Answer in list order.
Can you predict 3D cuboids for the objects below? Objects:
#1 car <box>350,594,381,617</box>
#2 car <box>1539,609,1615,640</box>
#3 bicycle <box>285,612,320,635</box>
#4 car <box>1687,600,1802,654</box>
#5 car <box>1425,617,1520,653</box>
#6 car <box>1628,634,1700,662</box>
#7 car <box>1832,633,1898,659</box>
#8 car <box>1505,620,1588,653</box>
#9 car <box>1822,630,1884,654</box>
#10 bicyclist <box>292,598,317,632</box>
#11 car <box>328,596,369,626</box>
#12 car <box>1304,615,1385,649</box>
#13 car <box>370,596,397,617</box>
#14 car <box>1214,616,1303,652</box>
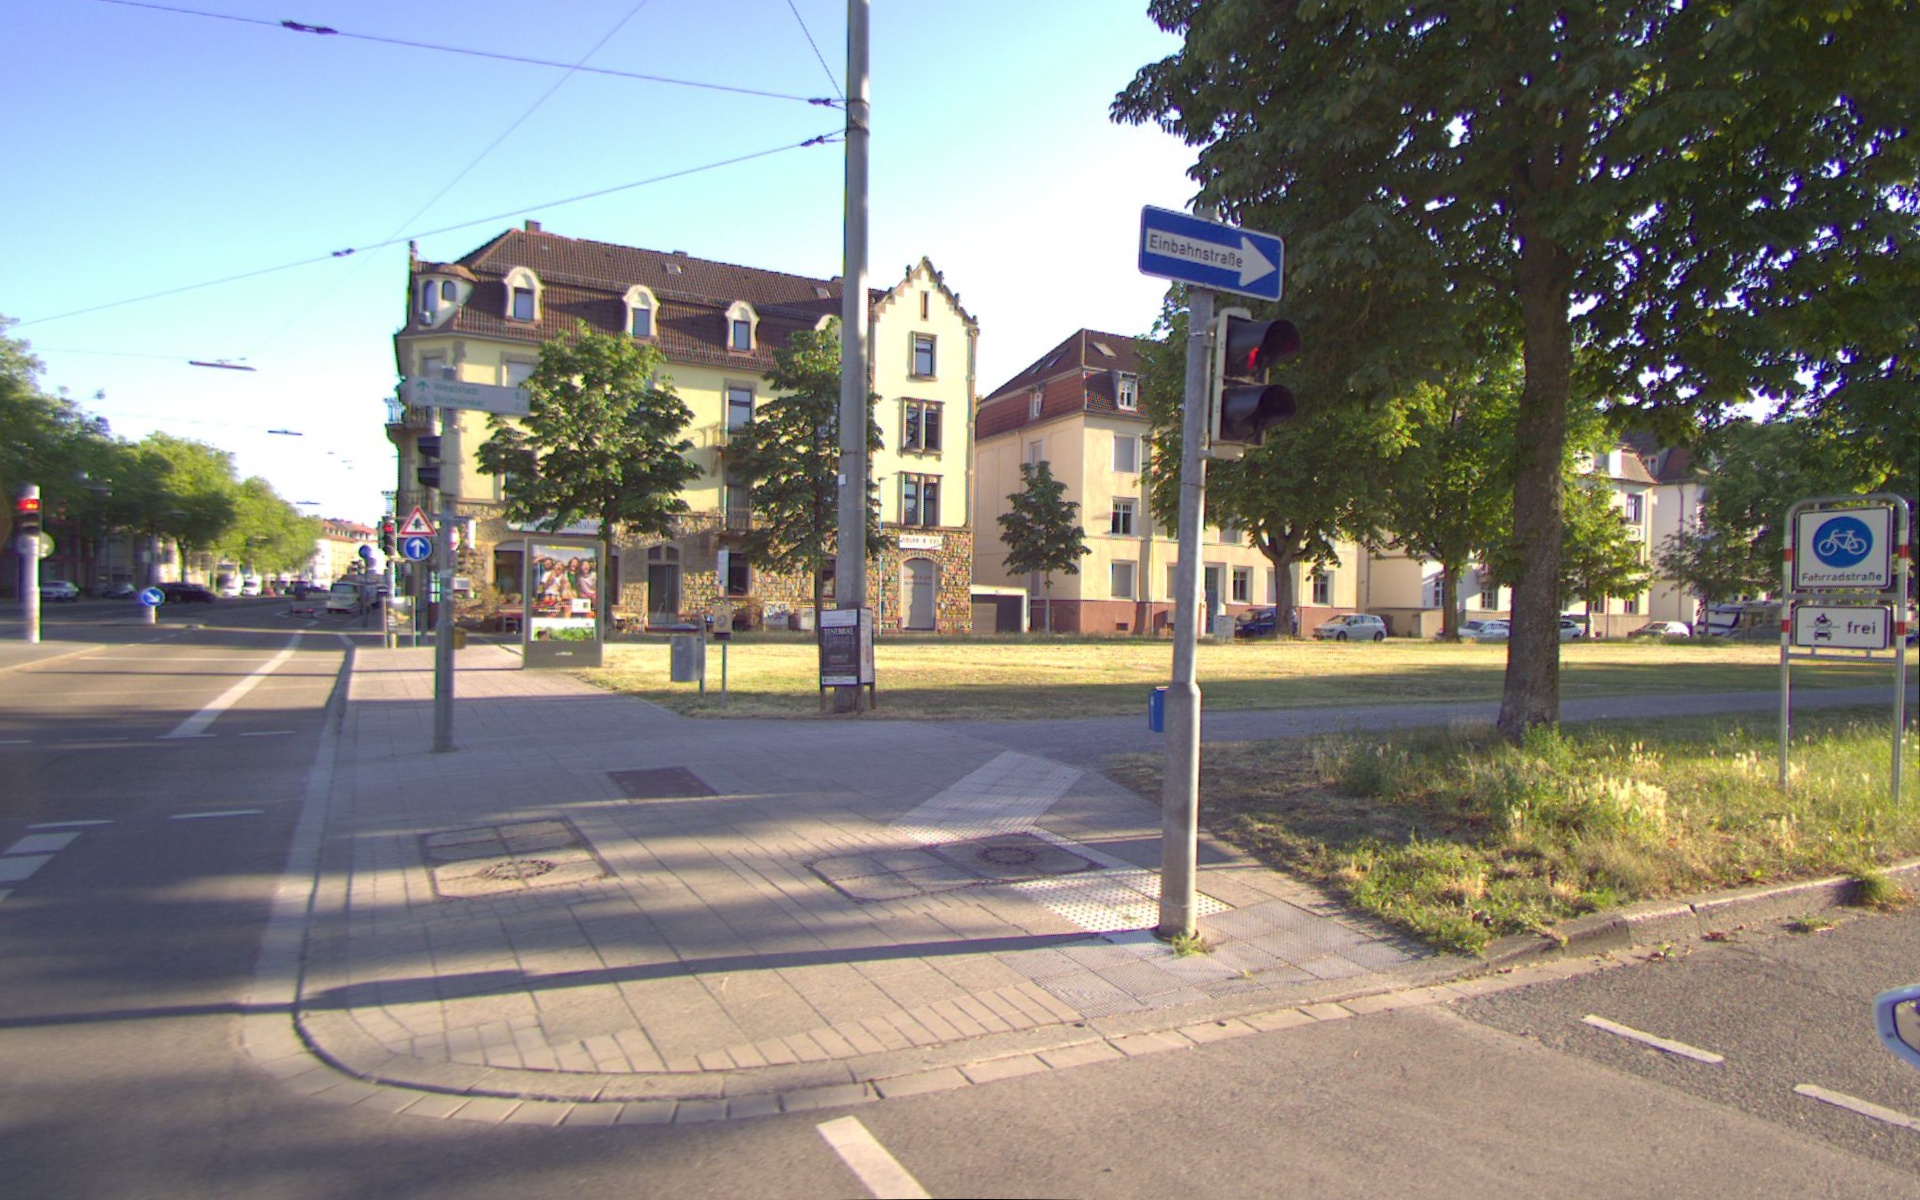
[{"bbox_3d":[-47.604,0.446,80.494,1.975,1.694,3.750,1,1,-28],"label":"car"},{"bbox_3d":[40.040,1.583,65.196,4.815,1.976,1.986,1,0,-27],"label":"car"},{"bbox_3d":[-34.673,1.235,53.003,0.862,1.177,3.069,1,-1,-20],"label":"bicycle"},{"bbox_3d":[49.187,1.636,62.955,7.748,3.173,2.384,0,2,-26],"label":"car"},{"bbox_3d":[26.484,1.806,51.915,4.507,1.681,1.988,1,1,-24],"label":"car"},{"bbox_3d":[47.905,3.272,68.349,4.507,1.681,1.988,1,1,-24],"label":"car"},{"bbox_3d":[62.810,3.184,69.747,4.257,1.696,1.873,1,1,-25],"label":"car"},{"bbox_3d":[31.719,1.959,54.330,4.363,1.575,1.788,0,2,-28],"label":"car"},{"bbox_3d":[69.833,3.286,78.560,4.314,1.681,1.988,1,1,-24],"label":"car"},{"bbox_3d":[-34.790,0.789,53.334,0.862,1.746,1.143,1,-1,-21],"label":"bicyclist"},{"bbox_3d":[-38.970,0.690,64.078,2.007,1.760,3.750,1,1,-28],"label":"car"},{"bbox_3d":[21.317,1.780,55.677,3.945,1.681,1.988,1,1,-24],"label":"car"},{"bbox_3d":[-51.801,0.613,90.236,1.976,1.694,3.750,1,1,-29],"label":"car"},{"bbox_3d":[15.793,1.808,53.163,4.252,1.759,1.988,1,1,-24],"label":"car"}]
